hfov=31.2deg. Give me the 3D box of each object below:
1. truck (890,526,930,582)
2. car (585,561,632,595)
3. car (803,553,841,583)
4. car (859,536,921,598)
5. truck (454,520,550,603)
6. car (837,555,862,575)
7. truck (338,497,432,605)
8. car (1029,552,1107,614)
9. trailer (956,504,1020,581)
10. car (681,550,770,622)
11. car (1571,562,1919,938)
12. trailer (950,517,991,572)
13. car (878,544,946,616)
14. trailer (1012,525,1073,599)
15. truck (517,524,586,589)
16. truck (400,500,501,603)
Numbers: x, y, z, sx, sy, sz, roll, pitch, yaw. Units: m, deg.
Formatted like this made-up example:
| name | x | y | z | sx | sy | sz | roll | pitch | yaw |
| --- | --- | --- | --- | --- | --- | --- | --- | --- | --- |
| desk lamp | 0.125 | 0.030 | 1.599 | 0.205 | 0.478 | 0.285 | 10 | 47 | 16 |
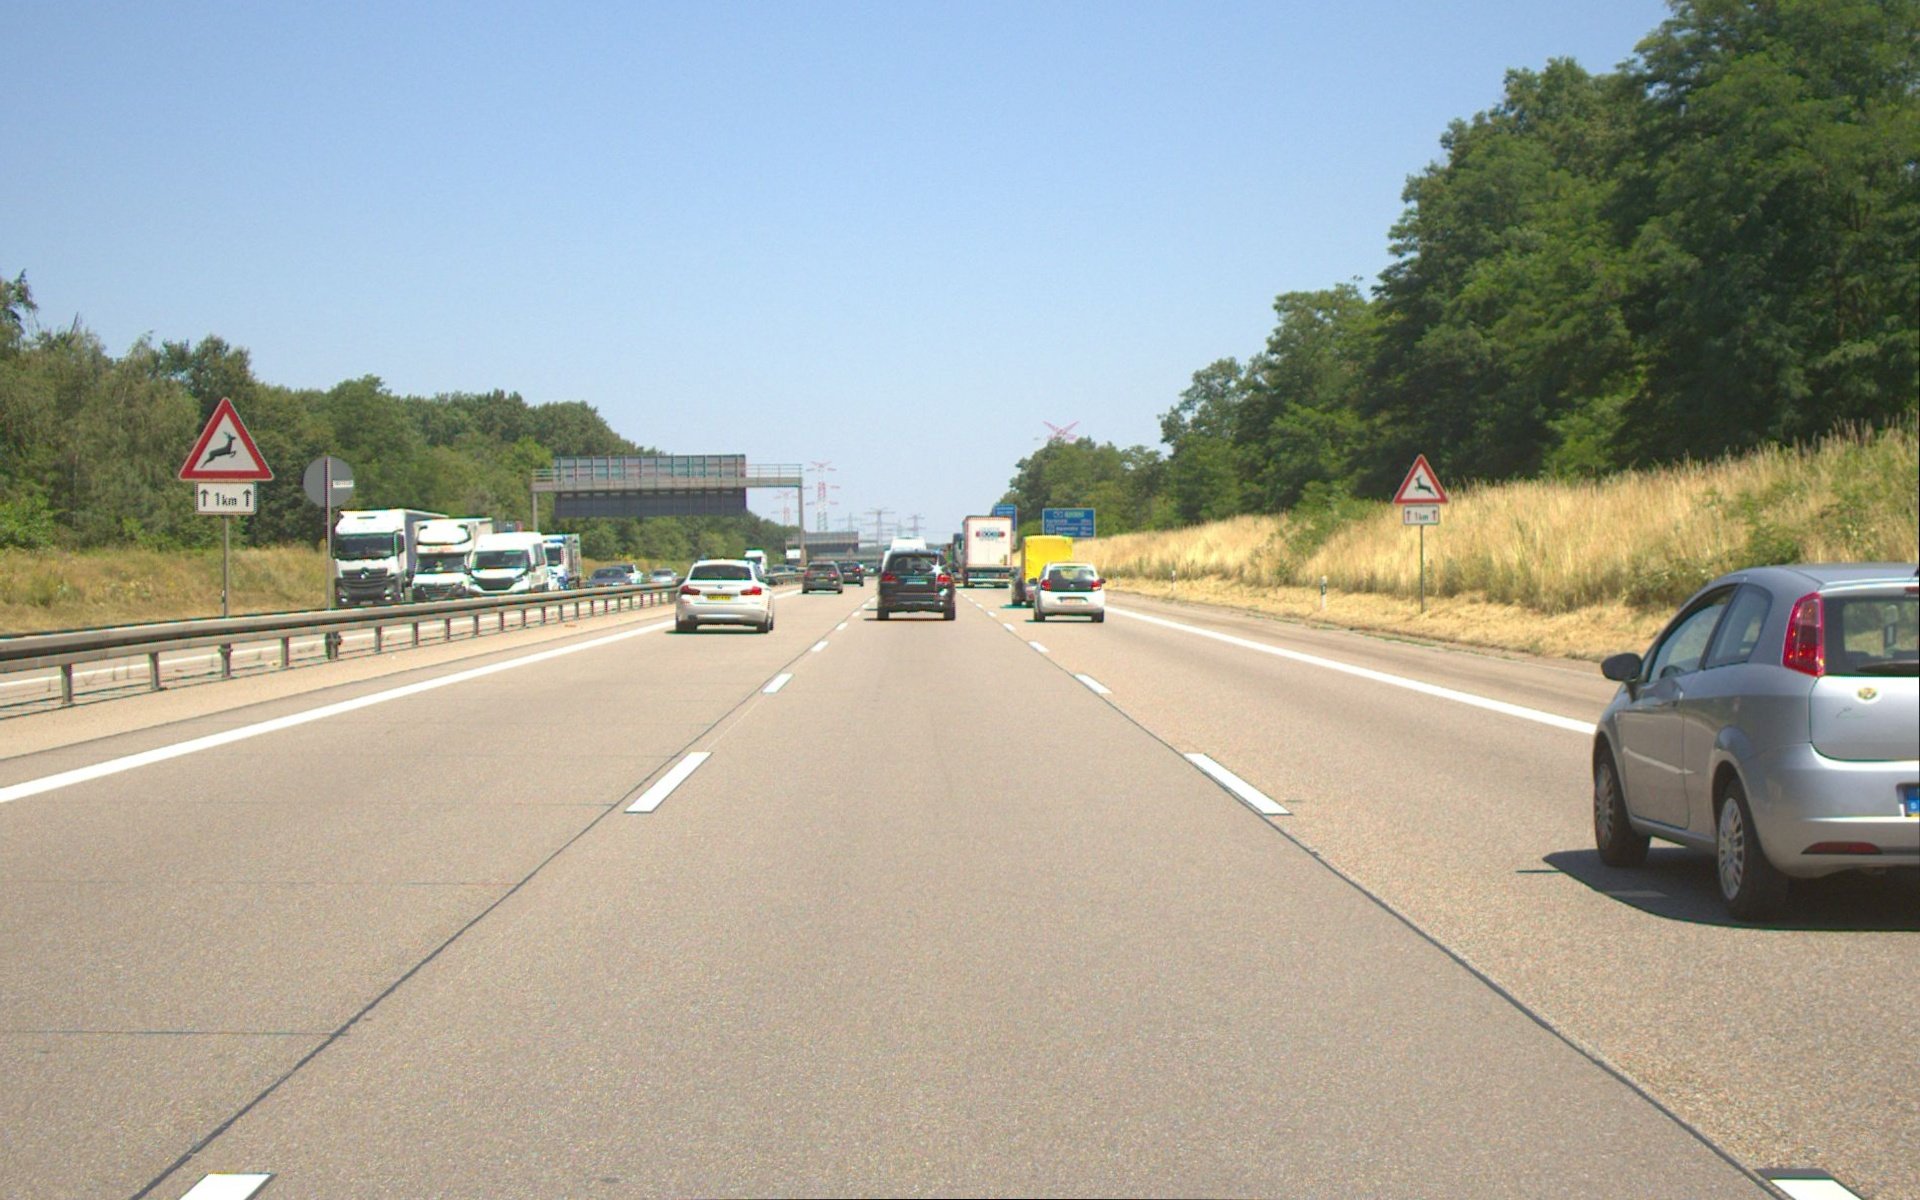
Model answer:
| name | x | y | z | sx | sy | sz | roll | pitch | yaw |
| --- | --- | --- | --- | --- | --- | --- | --- | --- | --- |
| truck | -2.660 | -2.427 | 183.124 | 2.060 | 2.904 | 7.003 | 0 | 0 | -1 |
| car | -15.348 | -0.970 | 150.227 | 1.604 | 1.394 | 4.545 | -3 | 1 | -2 |
| car | -6.211 | -1.442 | 154.715 | 1.607 | 1.296 | 3.674 | 0 | 1 | -1 |
| car | -2.114 | -0.981 | 103.755 | 1.814 | 1.821 | 5.111 | 0 | 0 | -1 |
| truck | -15.568 | -1.316 | 117.354 | 2.083 | 2.614 | 8.031 | -3 | 1 | 0 |
| car | -6.575 | -2.081 | 204.767 | 1.405 | 1.128 | 3.358 | 0 | 1 | -1 |
| truck | -22.560 | -1.915 | 135.076 | 2.505 | 4.000 | 6.125 | -3 | 1 | 0 |
| car | 2.624 | -0.427 | 84.243 | 1.708 | 1.490 | 4.024 | 0 | 1 | -1 |
| trailer | 1.567 | -3.272 | 199.864 | 3.286 | 4.205 | 13.566 | 1 | 0 | -1 |
| car | -4.716 | -0.309 | 69.543 | 1.669 | 1.396 | 3.713 | -1 | 1 | -2 |
| car | 3.980 | 0.572 | 15.417 | 1.745 | 1.461 | 3.980 | 1 | 1 | 0 |
| trailer | 0.721 | -3.984 | 251.209 | 2.682 | 3.824 | 12.011 | 1 | 0 | -1 |
| car | -1.186 | -0.506 | 85.279 | 1.626 | 1.749 | 3.805 | 0 | 1 | -1 |
| trailer | 2.617 | -1.207 | 109.432 | 1.703 | 2.282 | 3.840 | 0 | 0 | -2 |
| truck | -23.518 | -2.511 | 198.397 | 2.732 | 3.506 | 10.442 | -3 | 1 | -1 |
| truck | -19.063 | -1.817 | 128.920 | 2.457 | 3.594 | 8.120 | -3 | 1 | -1 |
